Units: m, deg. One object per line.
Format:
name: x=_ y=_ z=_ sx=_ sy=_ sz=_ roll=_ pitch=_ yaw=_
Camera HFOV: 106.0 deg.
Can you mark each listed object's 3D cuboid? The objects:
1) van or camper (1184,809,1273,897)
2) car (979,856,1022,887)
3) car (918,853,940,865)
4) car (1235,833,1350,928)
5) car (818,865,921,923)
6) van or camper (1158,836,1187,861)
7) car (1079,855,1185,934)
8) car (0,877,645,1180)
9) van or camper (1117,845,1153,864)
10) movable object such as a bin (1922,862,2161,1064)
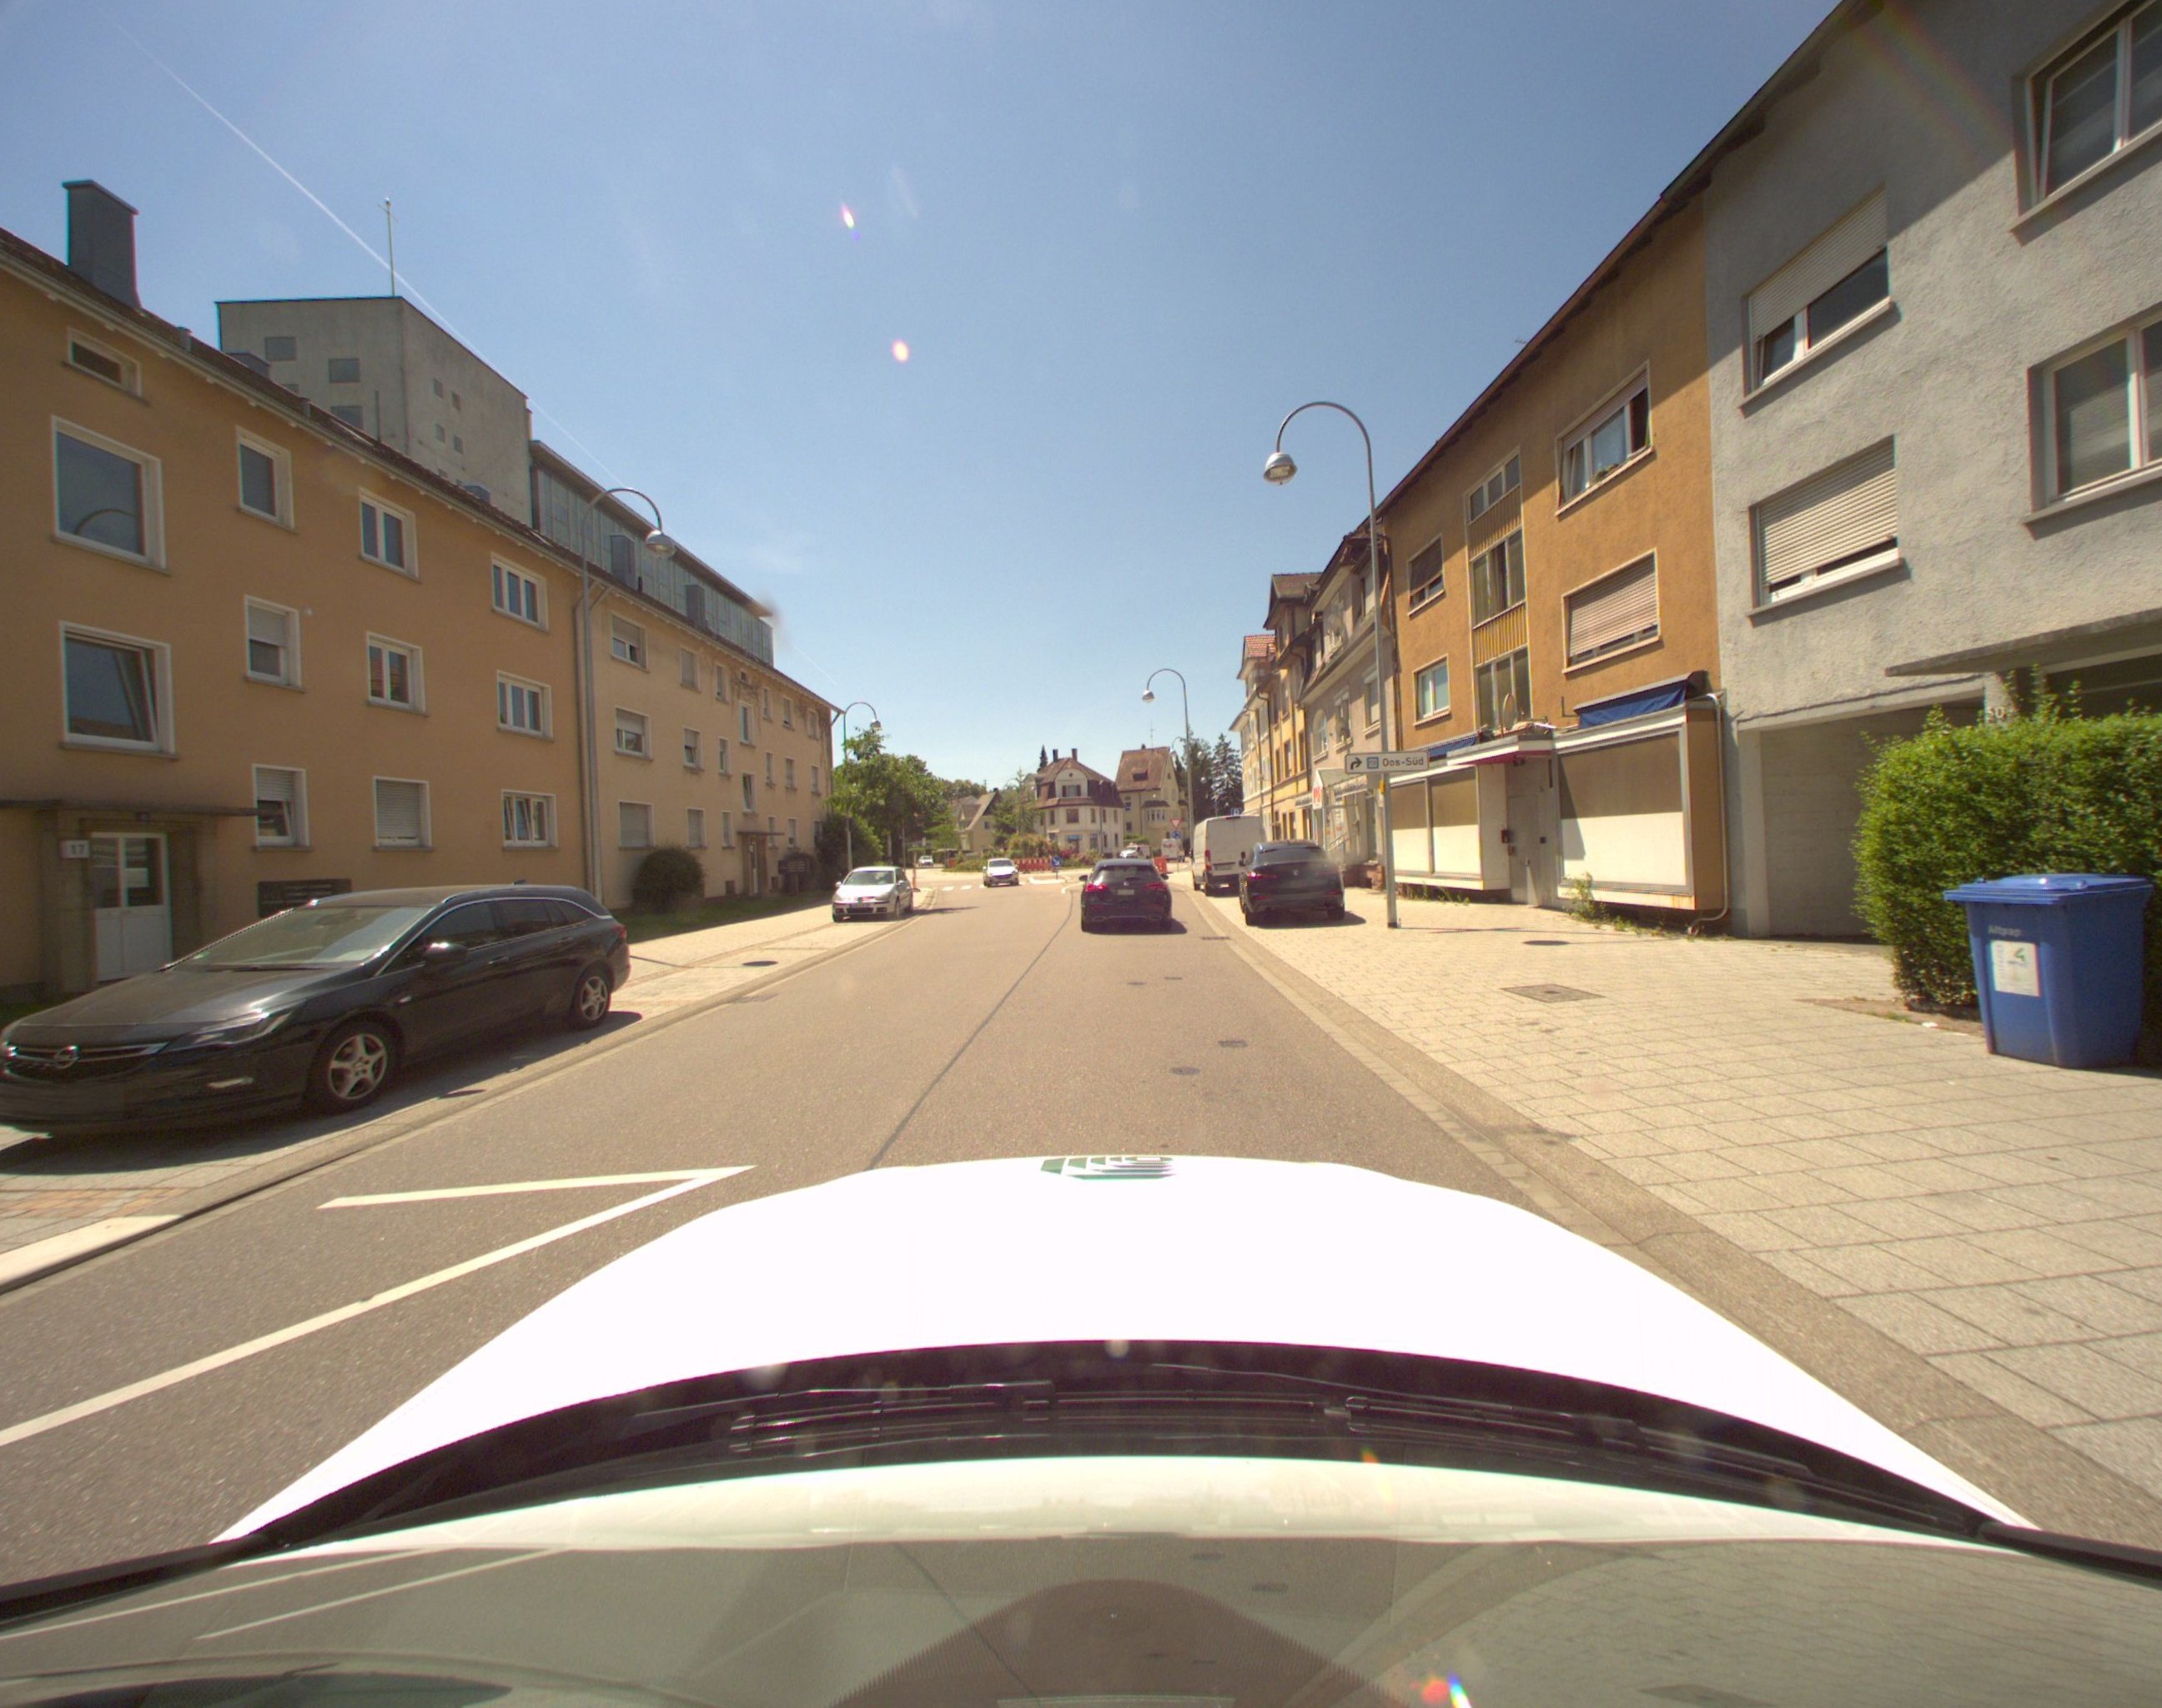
van or camper: x=4.978 y=-0.039 z=28.355 sx=2.156 sy=2.588 sz=5.770 roll=-4 pitch=0 yaw=3
car: x=-4.335 y=0.929 z=43.317 sx=1.662 sy=1.496 sz=3.740 roll=-3 pitch=0 yaw=-15
car: x=-22.102 y=0.795 z=118.521 sx=1.773 sy=1.597 sz=3.932 roll=-2 pitch=-2 yaw=11
car: x=4.284 y=0.486 z=17.115 sx=1.884 sy=1.607 sz=4.376 roll=-4 pitch=-1 yaw=10
car: x=-5.948 y=1.081 z=23.419 sx=1.988 sy=1.420 sz=4.085 roll=-2 pitch=0 yaw=-2
van or camper: x=9.939 y=-0.609 z=88.433 sx=2.187 sy=2.610 sz=4.020 roll=-2 pitch=0 yaw=19
car: x=1.005 y=0.770 z=17.271 sx=1.946 sy=1.427 sz=4.001 roll=-2 pitch=-1 yaw=1
car: x=-5.813 y=1.043 z=6.825 sx=1.851 sy=1.506 sz=4.561 roll=-1 pitch=0 yaw=0
van or camper: x=6.414 y=0.071 z=96.442 sx=1.974 sy=2.172 sz=5.447 roll=-1 pitch=-1 yaw=31
movable object such as a bin: x=5.645 y=0.606 z=4.825 sx=0.591 sy=1.077 sz=0.647 roll=-4 pitch=0 yaw=1
